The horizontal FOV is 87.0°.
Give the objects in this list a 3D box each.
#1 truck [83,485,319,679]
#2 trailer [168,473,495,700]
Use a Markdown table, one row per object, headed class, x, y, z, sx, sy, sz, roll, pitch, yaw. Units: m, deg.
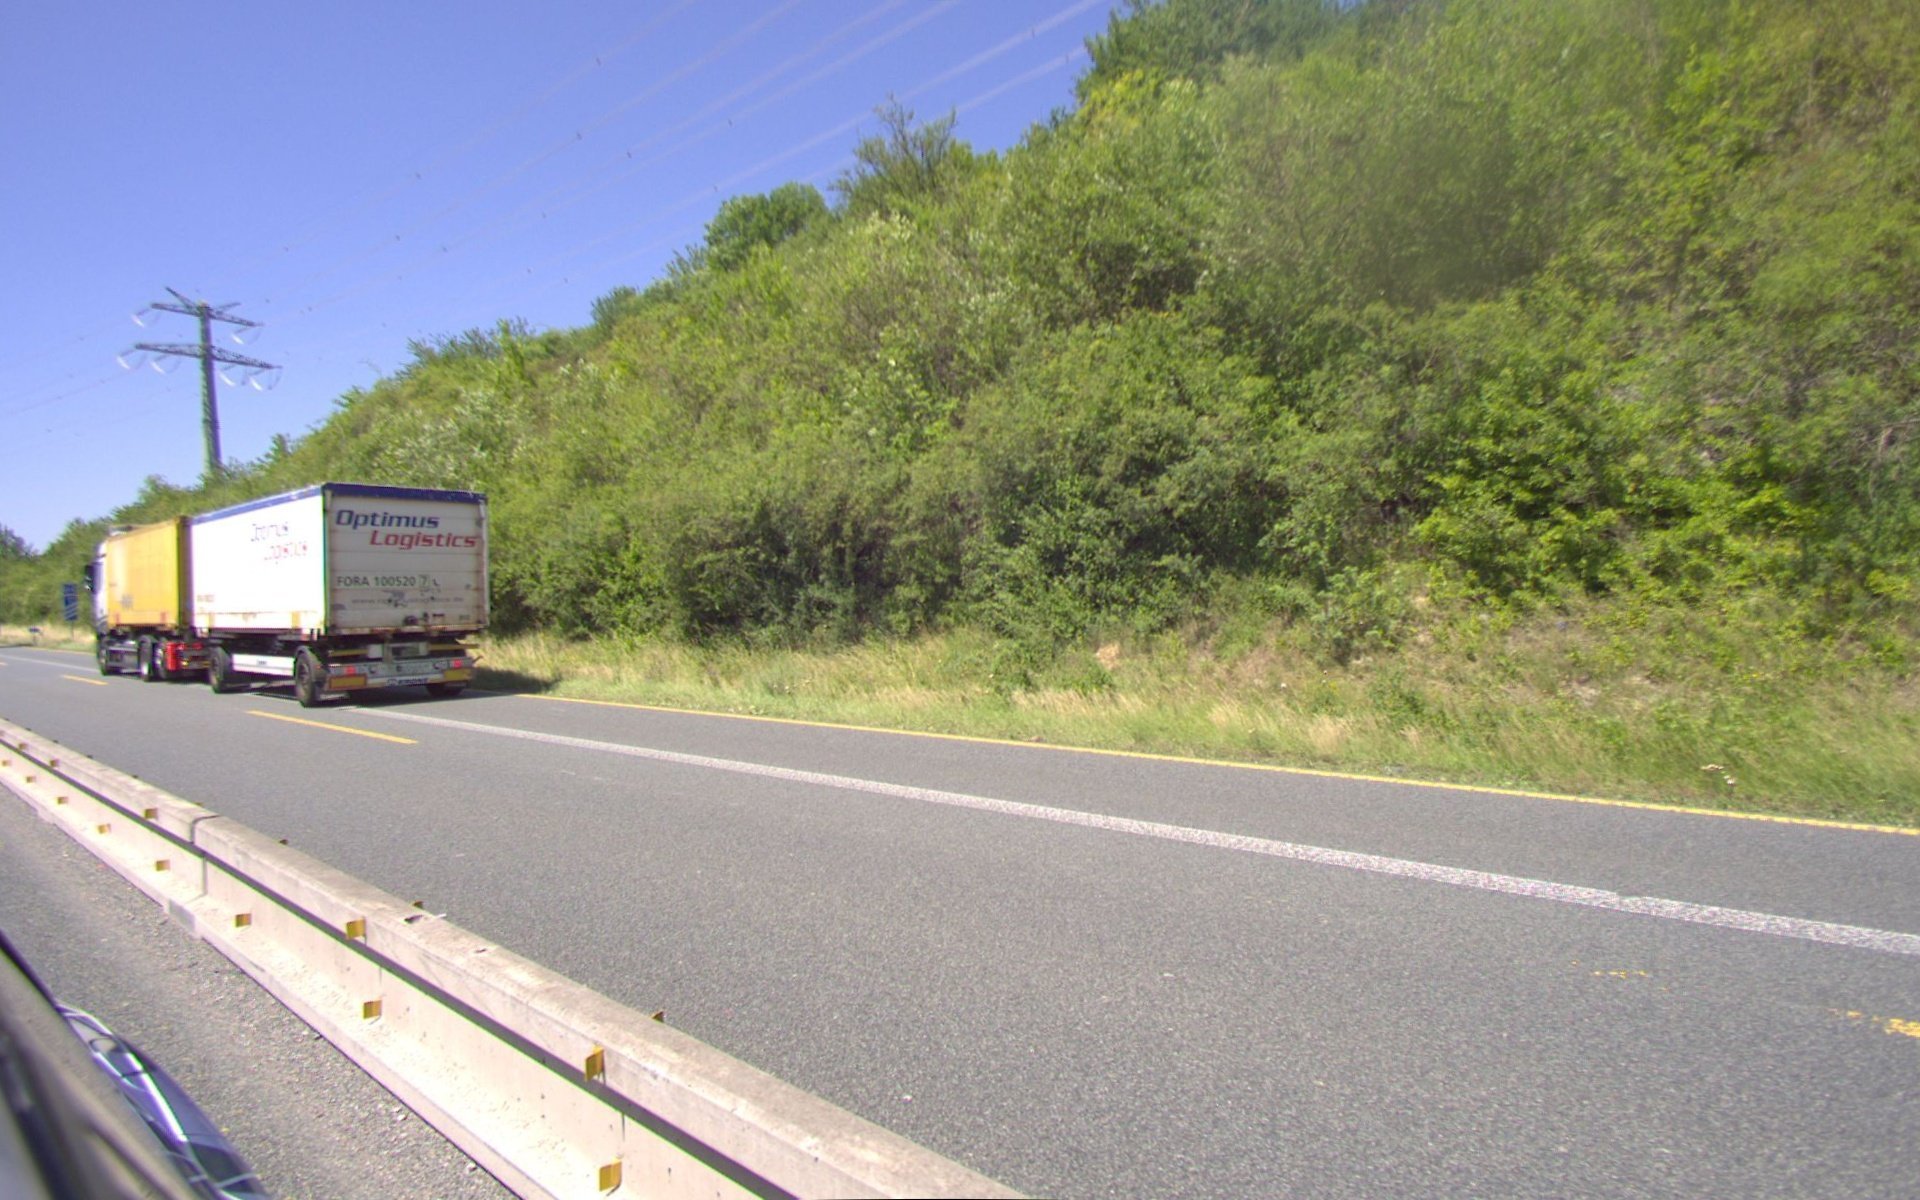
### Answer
| class | x | y | z | sx | sy | sz | roll | pitch | yaw |
| --- | --- | --- | --- | --- | --- | --- | --- | --- | --- |
| truck | -19.075 | -0.327 | 25.083 | 9.646 | 4.022 | 2.622 | -2 | 1 | 41 |
| trailer | -12.072 | -0.165 | 18.941 | 8.914 | 3.361 | 2.623 | -2 | 1 | 41 |
